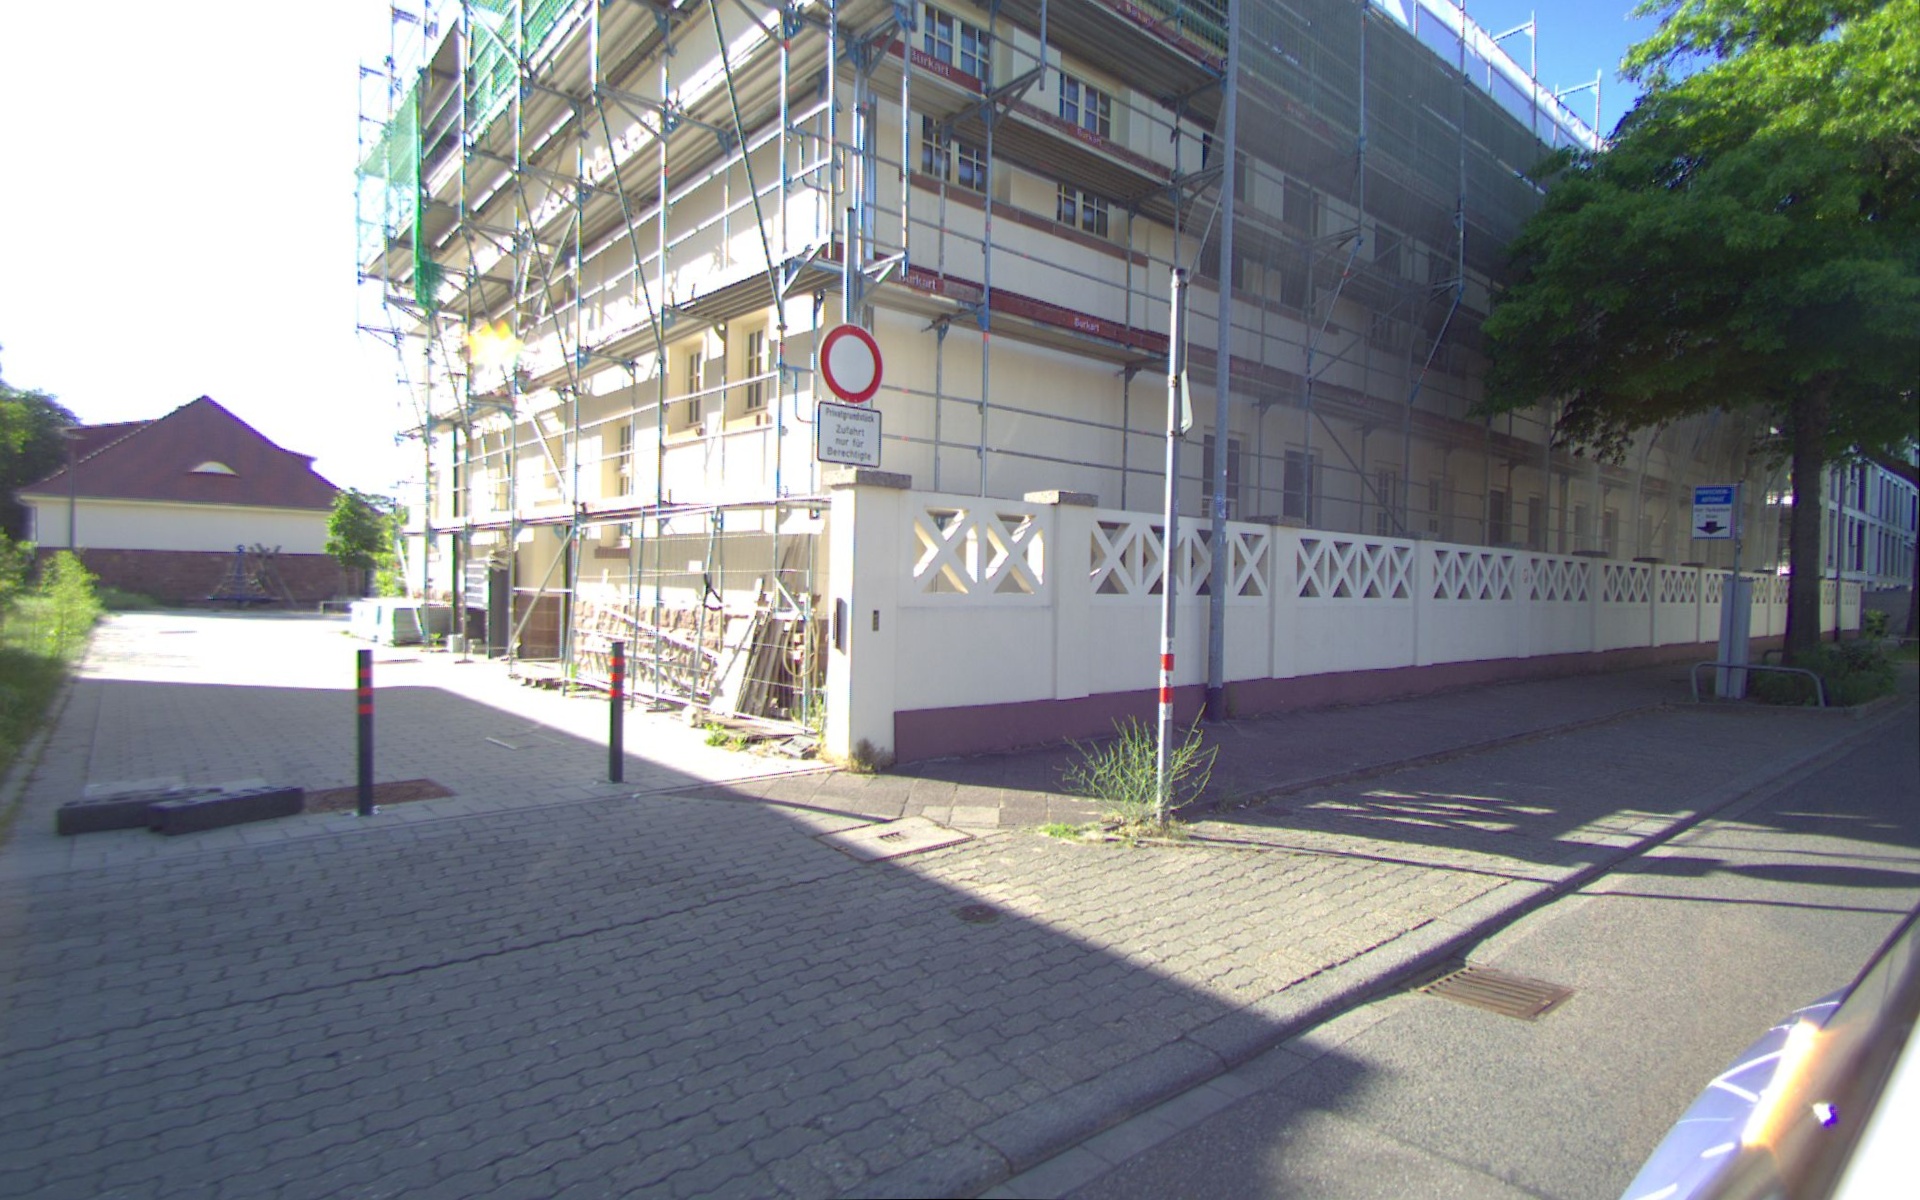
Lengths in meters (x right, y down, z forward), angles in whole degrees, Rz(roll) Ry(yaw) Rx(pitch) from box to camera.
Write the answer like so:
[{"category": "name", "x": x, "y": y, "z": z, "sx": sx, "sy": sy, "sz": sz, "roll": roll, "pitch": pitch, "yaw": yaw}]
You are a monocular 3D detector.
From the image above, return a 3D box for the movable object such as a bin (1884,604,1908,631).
[{"category": "movable object such as a bin", "x": 36.938, "y": 0.694, "z": 39.953, "sx": 0.553, "sy": 1.040, "sz": 0.599, "roll": 0, "pitch": -1, "yaw": -37}]
